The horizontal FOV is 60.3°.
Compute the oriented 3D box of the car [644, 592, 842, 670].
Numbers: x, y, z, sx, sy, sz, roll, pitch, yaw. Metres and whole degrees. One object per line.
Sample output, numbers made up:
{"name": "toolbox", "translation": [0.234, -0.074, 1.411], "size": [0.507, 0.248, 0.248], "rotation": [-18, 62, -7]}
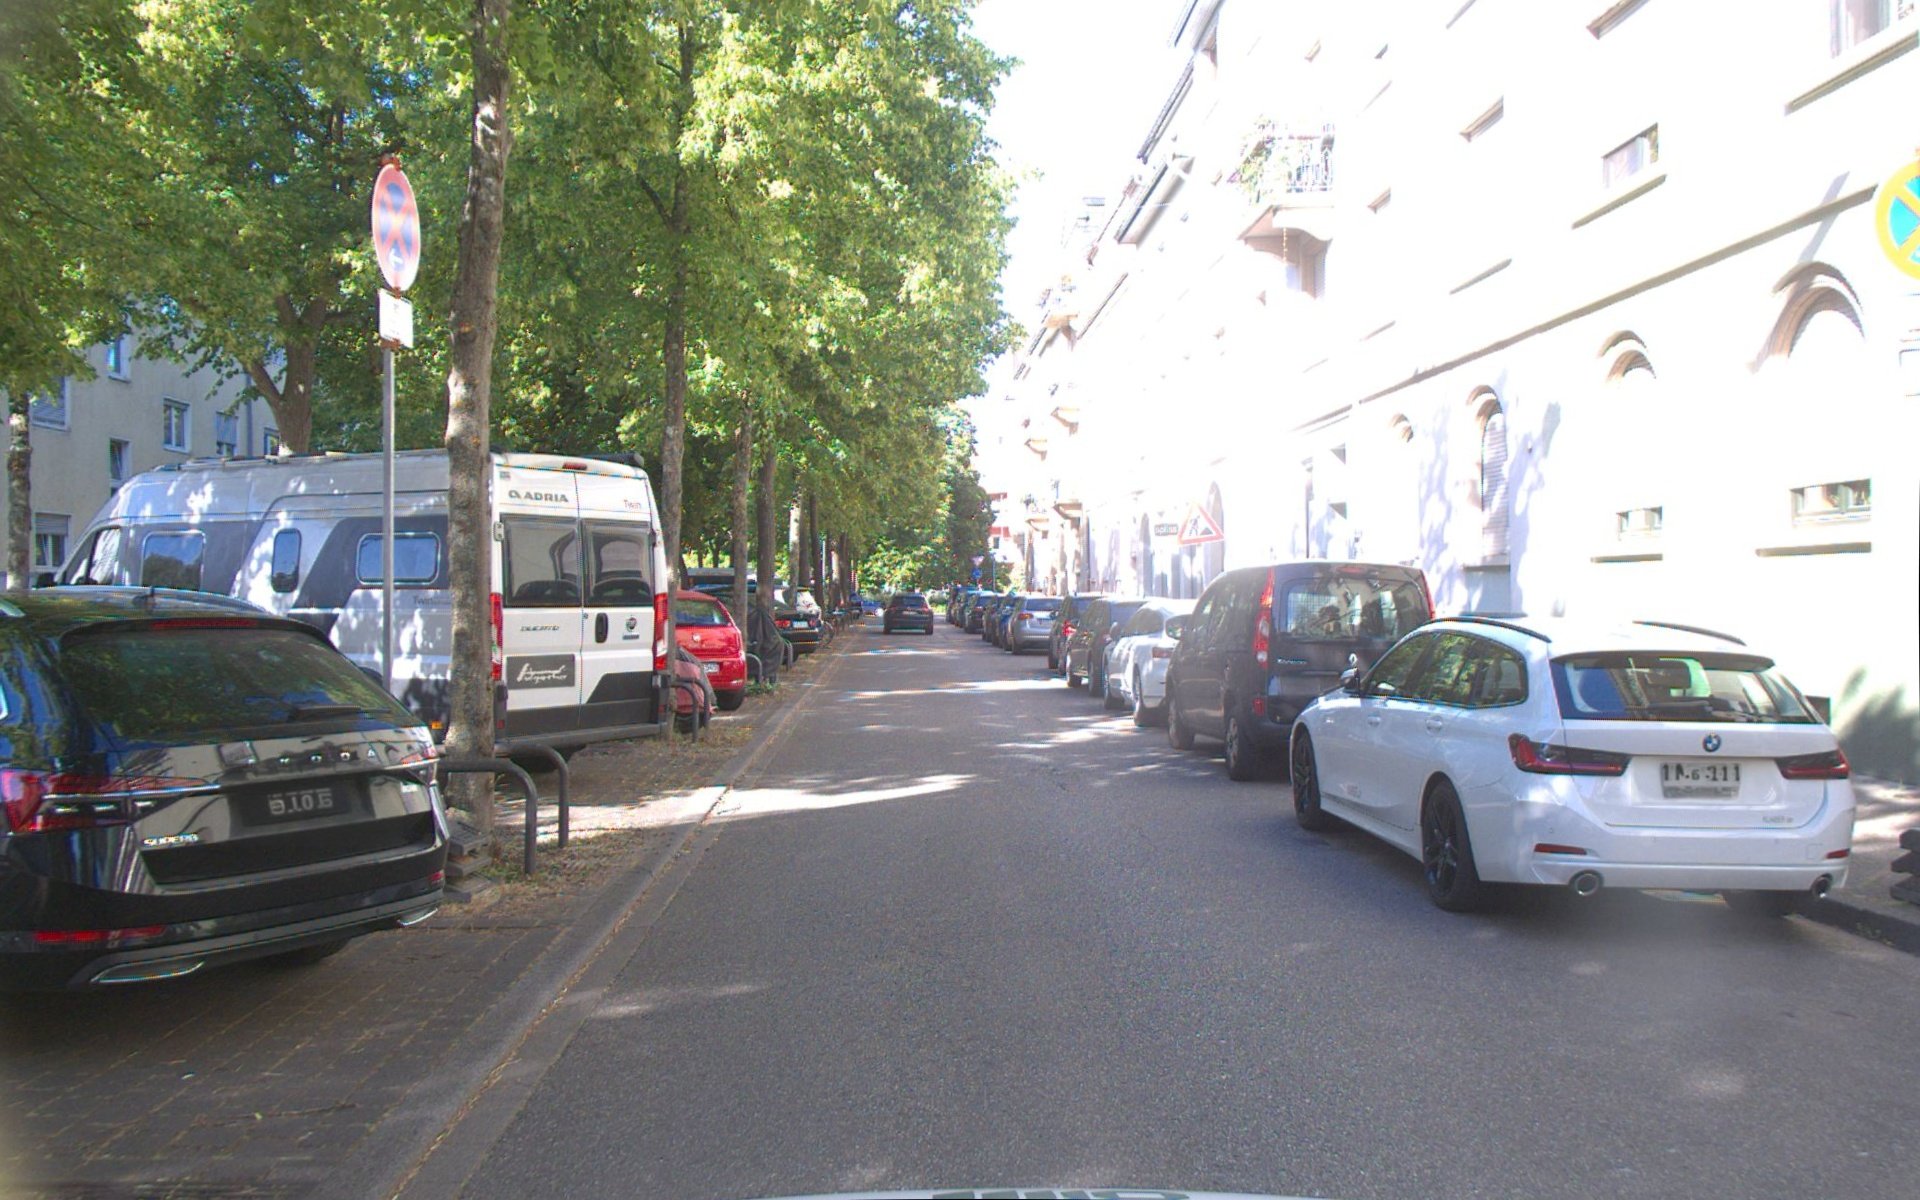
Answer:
{"name": "car", "translation": [-4.512, 0.633, 34.172], "size": [3.936, 1.500, 1.622], "rotation": [-1, 0, 33]}

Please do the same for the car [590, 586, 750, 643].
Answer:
{"name": "car", "translation": [-7.978, 0.381, 45.507], "size": [4.022, 1.498, 1.870], "rotation": [0, 0, 26]}

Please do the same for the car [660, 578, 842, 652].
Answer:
{"name": "car", "translation": [-5.060, 0.333, 40.081], "size": [3.995, 1.682, 1.862], "rotation": [1, 0, 25]}

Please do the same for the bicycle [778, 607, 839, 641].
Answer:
{"name": "bicycle", "translation": [-4.514, 0.708, 49.405], "size": [1.772, 1.011, 0.426], "rotation": [0, 0, 13]}

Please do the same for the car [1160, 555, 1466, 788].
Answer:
{"name": "car", "translation": [3.048, 0.560, 15.138], "size": [1.736, 1.825, 3.987], "rotation": [-1, 0, -3]}

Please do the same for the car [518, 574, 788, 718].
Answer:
{"name": "car", "translation": [-4.001, 0.543, 21.169], "size": [1.650, 1.646, 3.821], "rotation": [-1, 0, -42]}

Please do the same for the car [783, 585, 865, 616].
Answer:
{"name": "car", "translation": [-6.964, 0.050, 84.471], "size": [4.015, 1.492, 1.862], "rotation": [1, -1, -11]}

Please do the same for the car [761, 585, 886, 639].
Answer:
{"name": "car", "translation": [-4.381, 0.367, 53.193], "size": [3.608, 1.624, 1.772], "rotation": [1, 0, 23]}

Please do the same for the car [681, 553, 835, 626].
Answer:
{"name": "car", "translation": [-8.645, -0.401, 71.015], "size": [5.936, 2.668, 2.457], "rotation": [-4, -2, 13]}

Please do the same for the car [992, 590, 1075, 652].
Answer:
{"name": "car", "translation": [1.791, 0.500, 41.614], "size": [1.734, 1.456, 4.289], "rotation": [-1, 0, -2]}

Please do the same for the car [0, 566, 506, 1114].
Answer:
{"name": "car", "translation": [-3.861, 0.650, 6.379], "size": [4.009, 1.552, 1.699], "rotation": [1, 1, 28]}

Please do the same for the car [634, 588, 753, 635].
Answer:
{"name": "car", "translation": [-9.439, 0.410, 58.506], "size": [3.828, 1.583, 1.844], "rotation": [-1, 0, 28]}

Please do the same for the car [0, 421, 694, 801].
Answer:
{"name": "car", "translation": [-5.410, 0.067, 13.925], "size": [6.190, 2.603, 2.333], "rotation": [0, -1, 30]}

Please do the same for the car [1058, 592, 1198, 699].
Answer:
{"name": "car", "translation": [2.551, 0.655, 25.958], "size": [1.567, 1.518, 3.964], "rotation": [-1, 0, -3]}

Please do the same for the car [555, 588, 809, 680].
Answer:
{"name": "car", "translation": [-4.684, 0.547, 27.732], "size": [4.066, 1.450, 1.712], "rotation": [0, -1, 30]}

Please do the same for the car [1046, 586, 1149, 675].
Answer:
{"name": "car", "translation": [2.553, 0.537, 31.489], "size": [1.548, 1.578, 4.040], "rotation": [0, 0, -1]}

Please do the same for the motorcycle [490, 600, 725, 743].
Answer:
{"name": "motorcycle", "translation": [-3.610, 0.706, 17.061], "size": [2.278, 1.358, 0.966], "rotation": [-1, 0, -12]}

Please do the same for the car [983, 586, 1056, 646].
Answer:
{"name": "car", "translation": [1.633, 0.431, 46.673], "size": [1.732, 1.579, 4.182], "rotation": [-1, 0, -2]}

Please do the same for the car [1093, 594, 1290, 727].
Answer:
{"name": "car", "translation": [2.758, 0.662, 20.654], "size": [1.575, 1.445, 4.565], "rotation": [-1, 0, -3]}

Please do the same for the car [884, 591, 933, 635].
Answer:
{"name": "car", "translation": [-1.837, 0.430, 59.902], "size": [1.679, 1.509, 4.144], "rotation": [-1, 0, -1]}

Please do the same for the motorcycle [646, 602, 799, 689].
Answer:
{"name": "motorcycle", "translation": [-3.529, 0.665, 24.695], "size": [2.101, 1.251, 0.882], "rotation": [0, 0, 6]}

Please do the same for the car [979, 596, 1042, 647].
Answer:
{"name": "car", "translation": [1.508, 0.634, 51.058], "size": [1.658, 1.493, 4.003], "rotation": [1, 0, -2]}

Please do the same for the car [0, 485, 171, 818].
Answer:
{"name": "car", "translation": [-7.229, 0.313, 11.081], "size": [4.305, 1.948, 1.989], "rotation": [0, 0, 41]}

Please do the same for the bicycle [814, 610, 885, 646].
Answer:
{"name": "bicycle", "translation": [-2.938, 0.740, 43.942], "size": [1.858, 0.935, 0.379], "rotation": [1, 0, 17]}

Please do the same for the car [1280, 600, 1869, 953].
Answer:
{"name": "car", "translation": [3.172, 0.786, 9.547], "size": [1.670, 1.538, 4.282], "rotation": [-1, 0, -2]}

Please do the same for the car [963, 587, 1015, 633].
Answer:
{"name": "car", "translation": [1.051, 0.343, 61.567], "size": [1.768, 1.591, 4.320], "rotation": [-1, 0, -1]}
